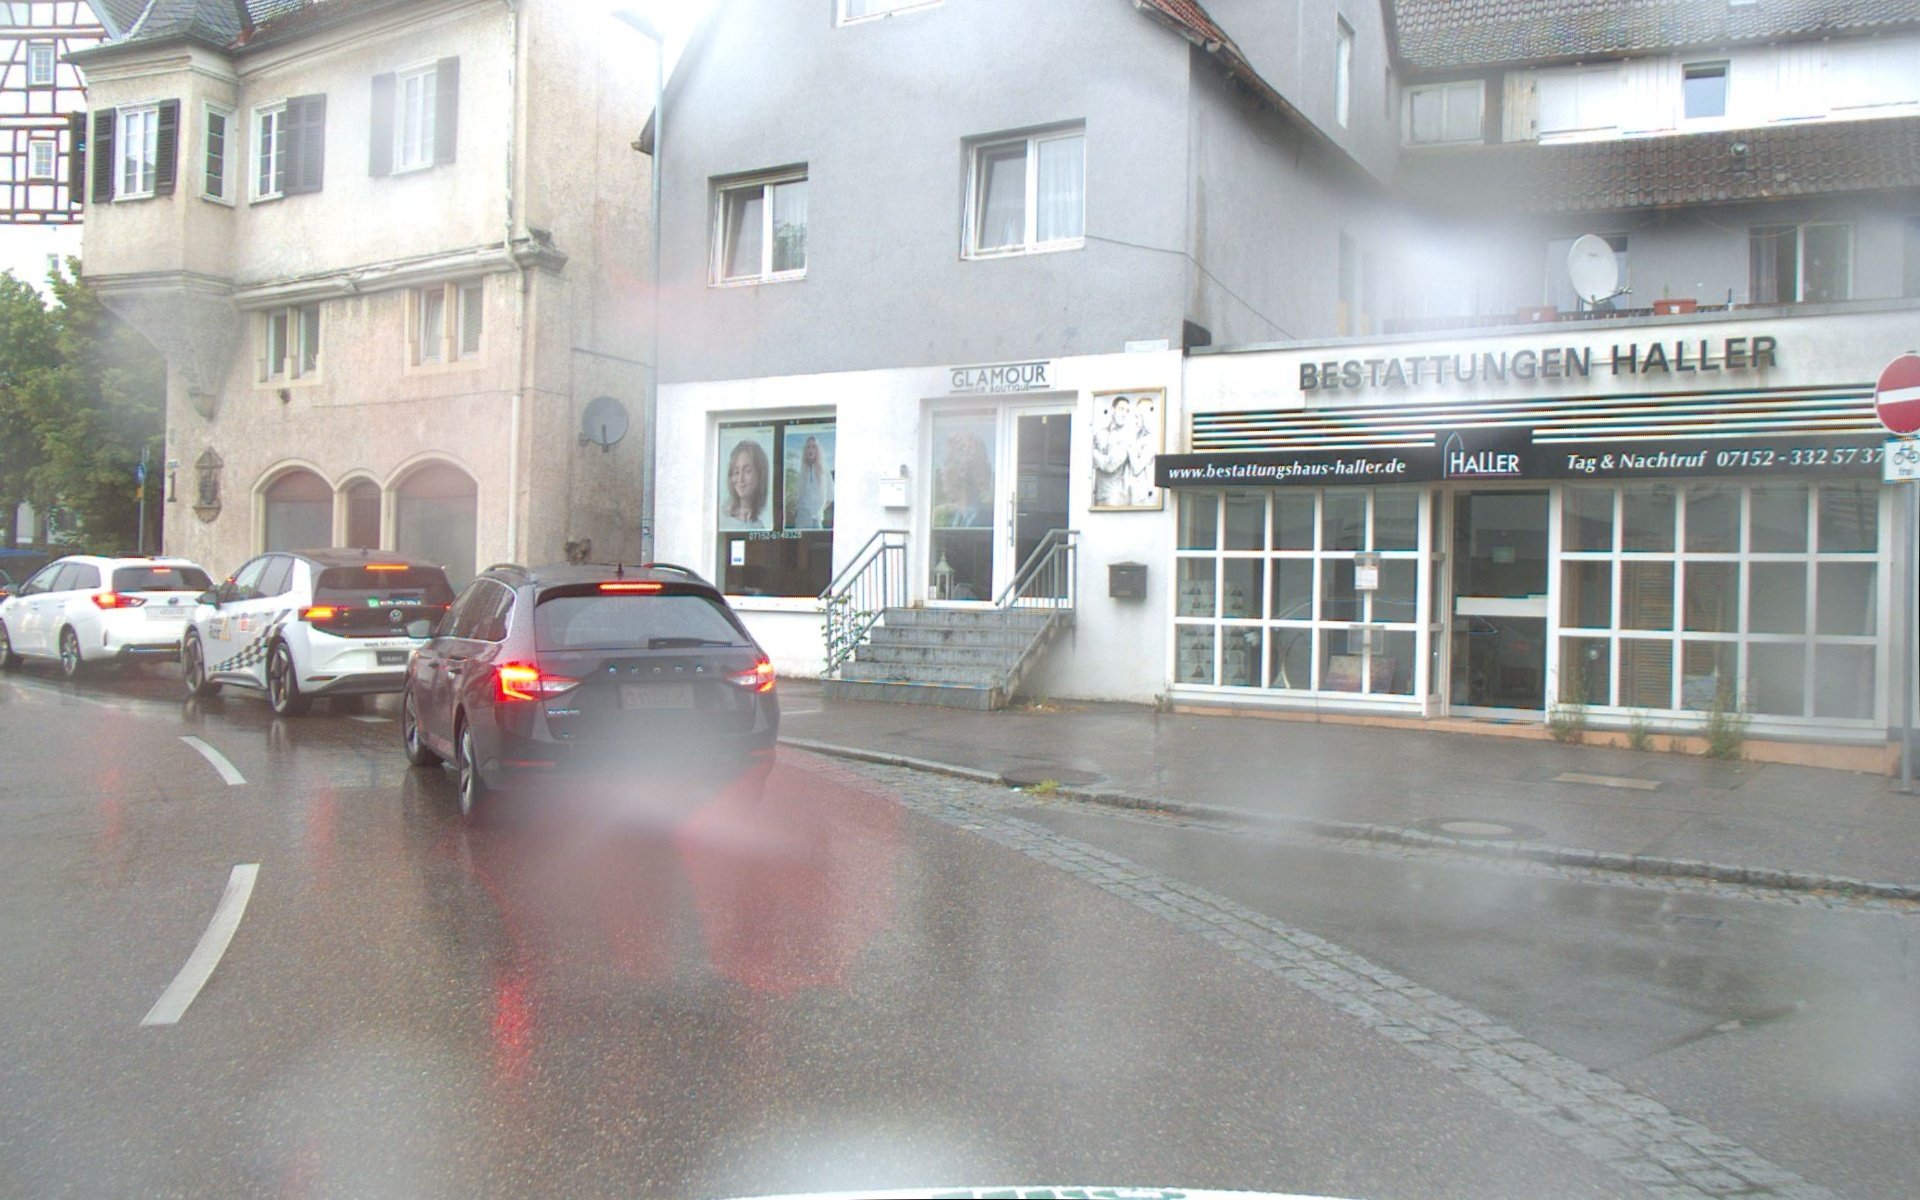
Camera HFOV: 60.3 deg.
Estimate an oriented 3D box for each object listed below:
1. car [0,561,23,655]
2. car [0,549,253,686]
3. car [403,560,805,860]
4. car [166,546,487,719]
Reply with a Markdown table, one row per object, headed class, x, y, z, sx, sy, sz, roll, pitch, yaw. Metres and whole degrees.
| class | x | y | z | sx | sy | sz | roll | pitch | yaw |
| --- | --- | --- | --- | --- | --- | --- | --- | --- | --- |
| car | -16.097 | 0.069 | 25.662 | 3.697 | 1.385 | 1.516 | 3 | 3 | 40 |
| car | -10.757 | 0.138 | 21.004 | 4.092 | 1.490 | 1.780 | 3 | 3 | 43 |
| car | -2.506 | 0.516 | 10.758 | 1.710 | 1.475 | 4.209 | 0 | 2 | -25 |
| car | -6.585 | 0.234 | 16.938 | 1.779 | 1.543 | 4.178 | -1 | 2 | -41 |
